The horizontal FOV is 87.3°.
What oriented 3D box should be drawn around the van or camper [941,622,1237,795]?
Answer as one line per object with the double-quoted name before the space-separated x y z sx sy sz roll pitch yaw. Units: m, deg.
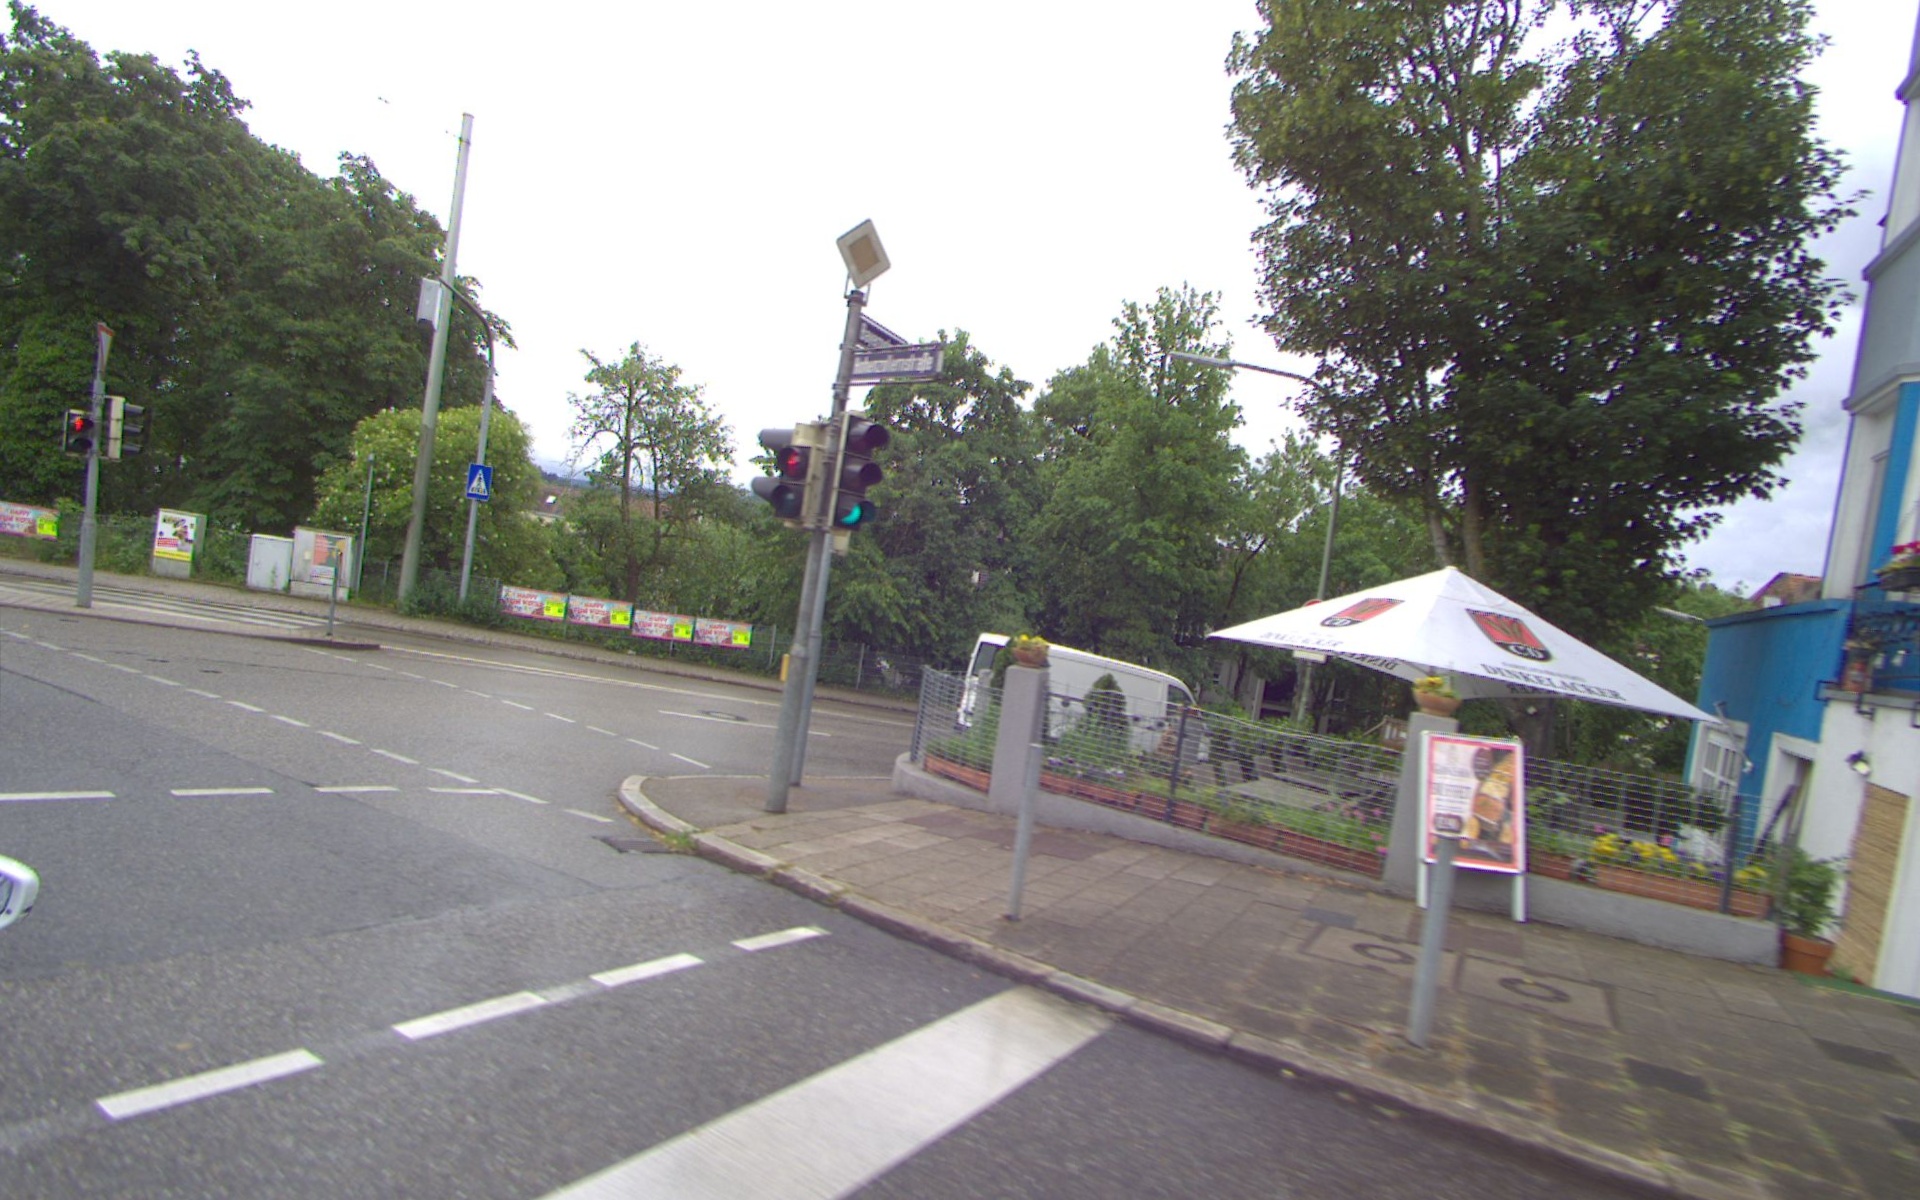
"van or camper" 2.589 2.150 19.383 5.377 2.351 2.090 13 -2 -35
